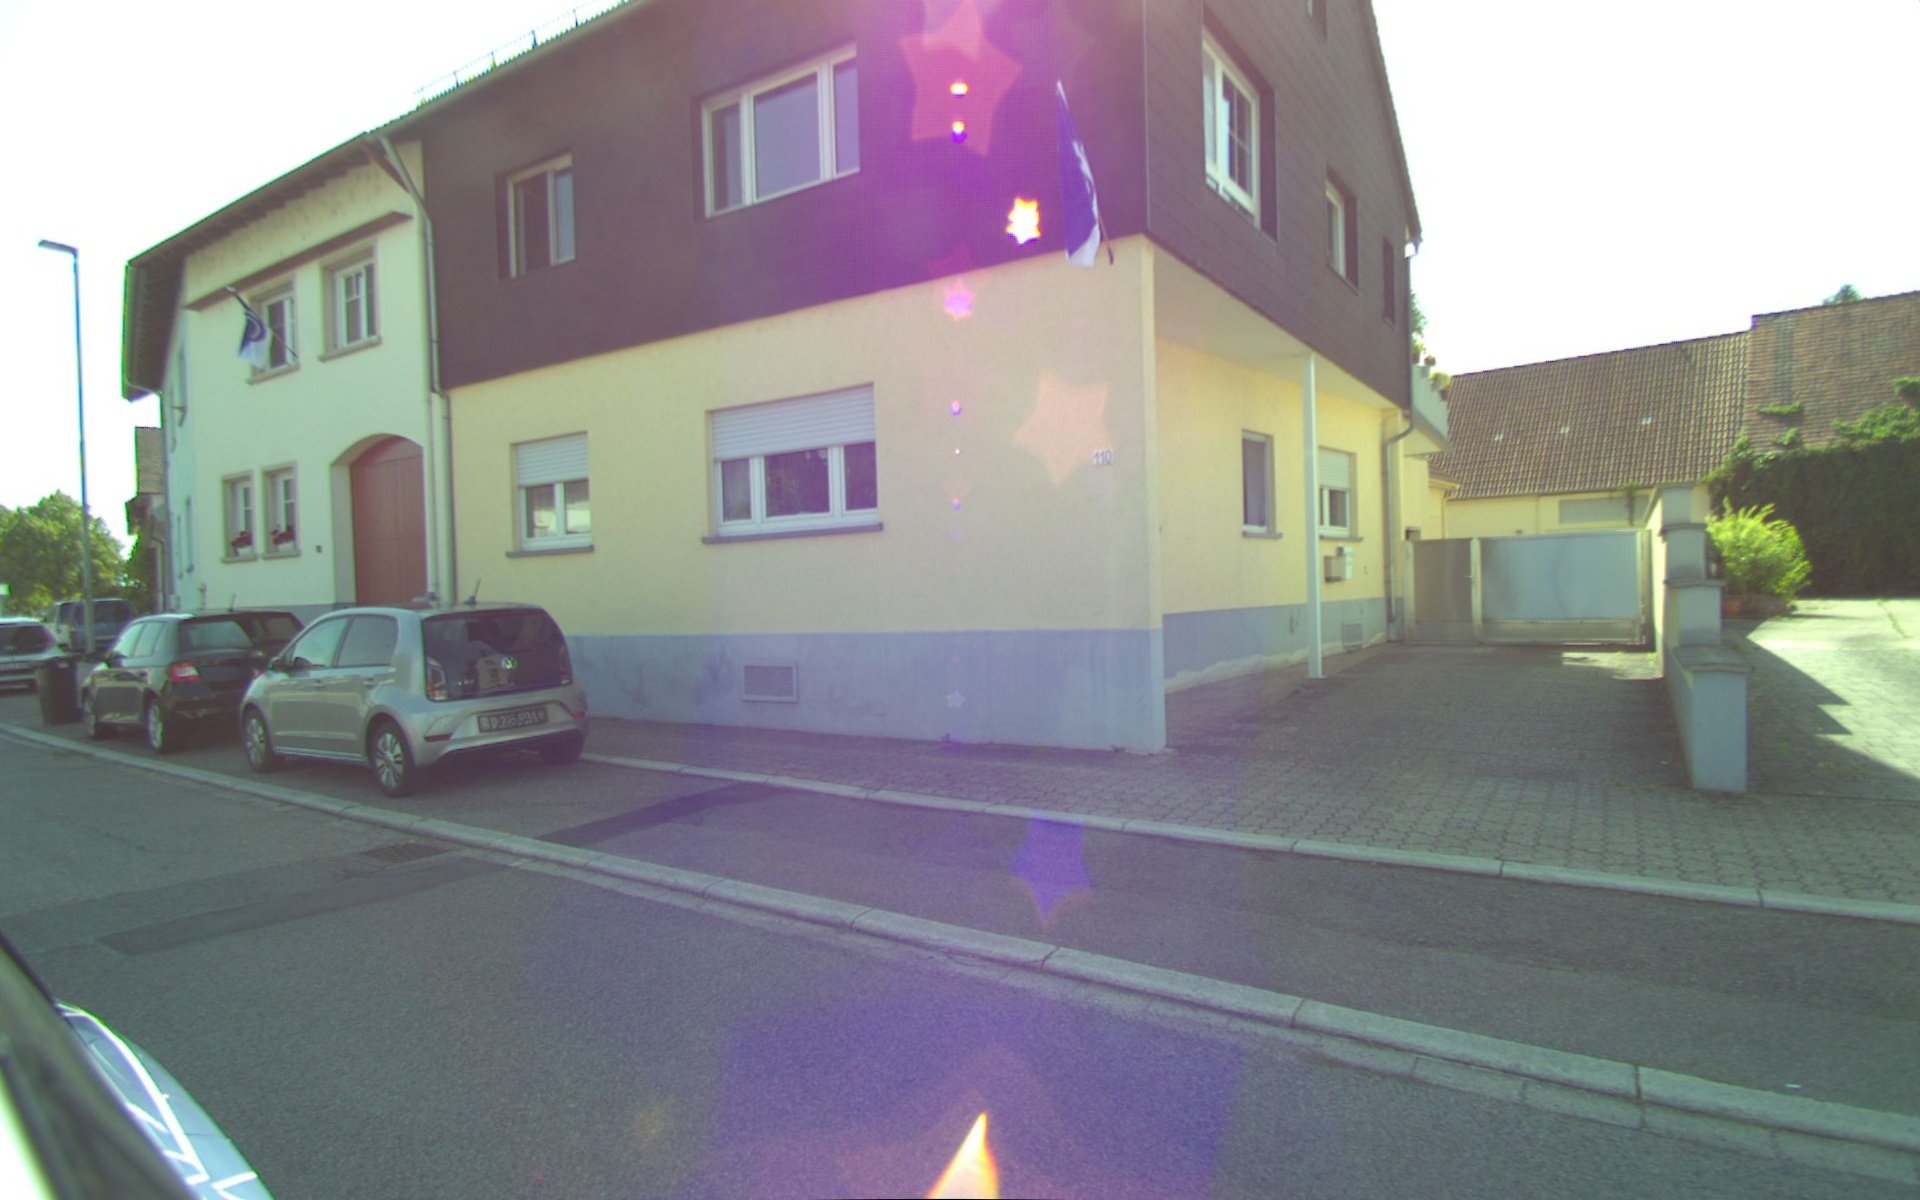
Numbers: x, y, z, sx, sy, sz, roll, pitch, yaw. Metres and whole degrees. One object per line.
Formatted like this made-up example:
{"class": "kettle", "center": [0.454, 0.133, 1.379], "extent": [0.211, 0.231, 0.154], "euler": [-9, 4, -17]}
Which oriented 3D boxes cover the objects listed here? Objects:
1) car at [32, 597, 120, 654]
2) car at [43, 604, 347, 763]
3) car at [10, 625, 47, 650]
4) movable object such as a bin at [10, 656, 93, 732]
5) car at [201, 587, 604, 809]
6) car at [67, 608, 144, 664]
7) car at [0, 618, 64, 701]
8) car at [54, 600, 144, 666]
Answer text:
{"class": "car", "center": [-36.569, 1.035, 41.799], "extent": [5.266, 2.000, 2.104], "euler": [-1, 5, 44]}
{"class": "car", "center": [-8.985, 0.864, 11.795], "extent": [3.987, 1.447, 1.664], "euler": [-1, 3, 36]}
{"class": "car", "center": [-60.205, 2.406, 65.437], "extent": [1.694, 1.418, 4.403], "euler": [0, 0, -42]}
{"class": "movable object such as a bin", "center": [-12.338, 1.268, 13.745], "extent": [0.822, 0.935, 0.548], "euler": [-2, 4, 30]}
{"class": "car", "center": [-5.037, 0.726, 8.984], "extent": [3.773, 1.512, 1.626], "euler": [-1, 2, 36]}
{"class": "car", "center": [-30.309, 1.227, 35.901], "extent": [1.944, 1.787, 4.283], "euler": [-2, 1, -41]}
{"class": "car", "center": [-19.008, 1.139, 19.854], "extent": [3.647, 1.473, 1.666], "euler": [-1, 1, 41]}
{"class": "car", "center": [-27.011, 1.006, 31.864], "extent": [1.813, 1.806, 4.352], "euler": [-5, 2, -37]}
